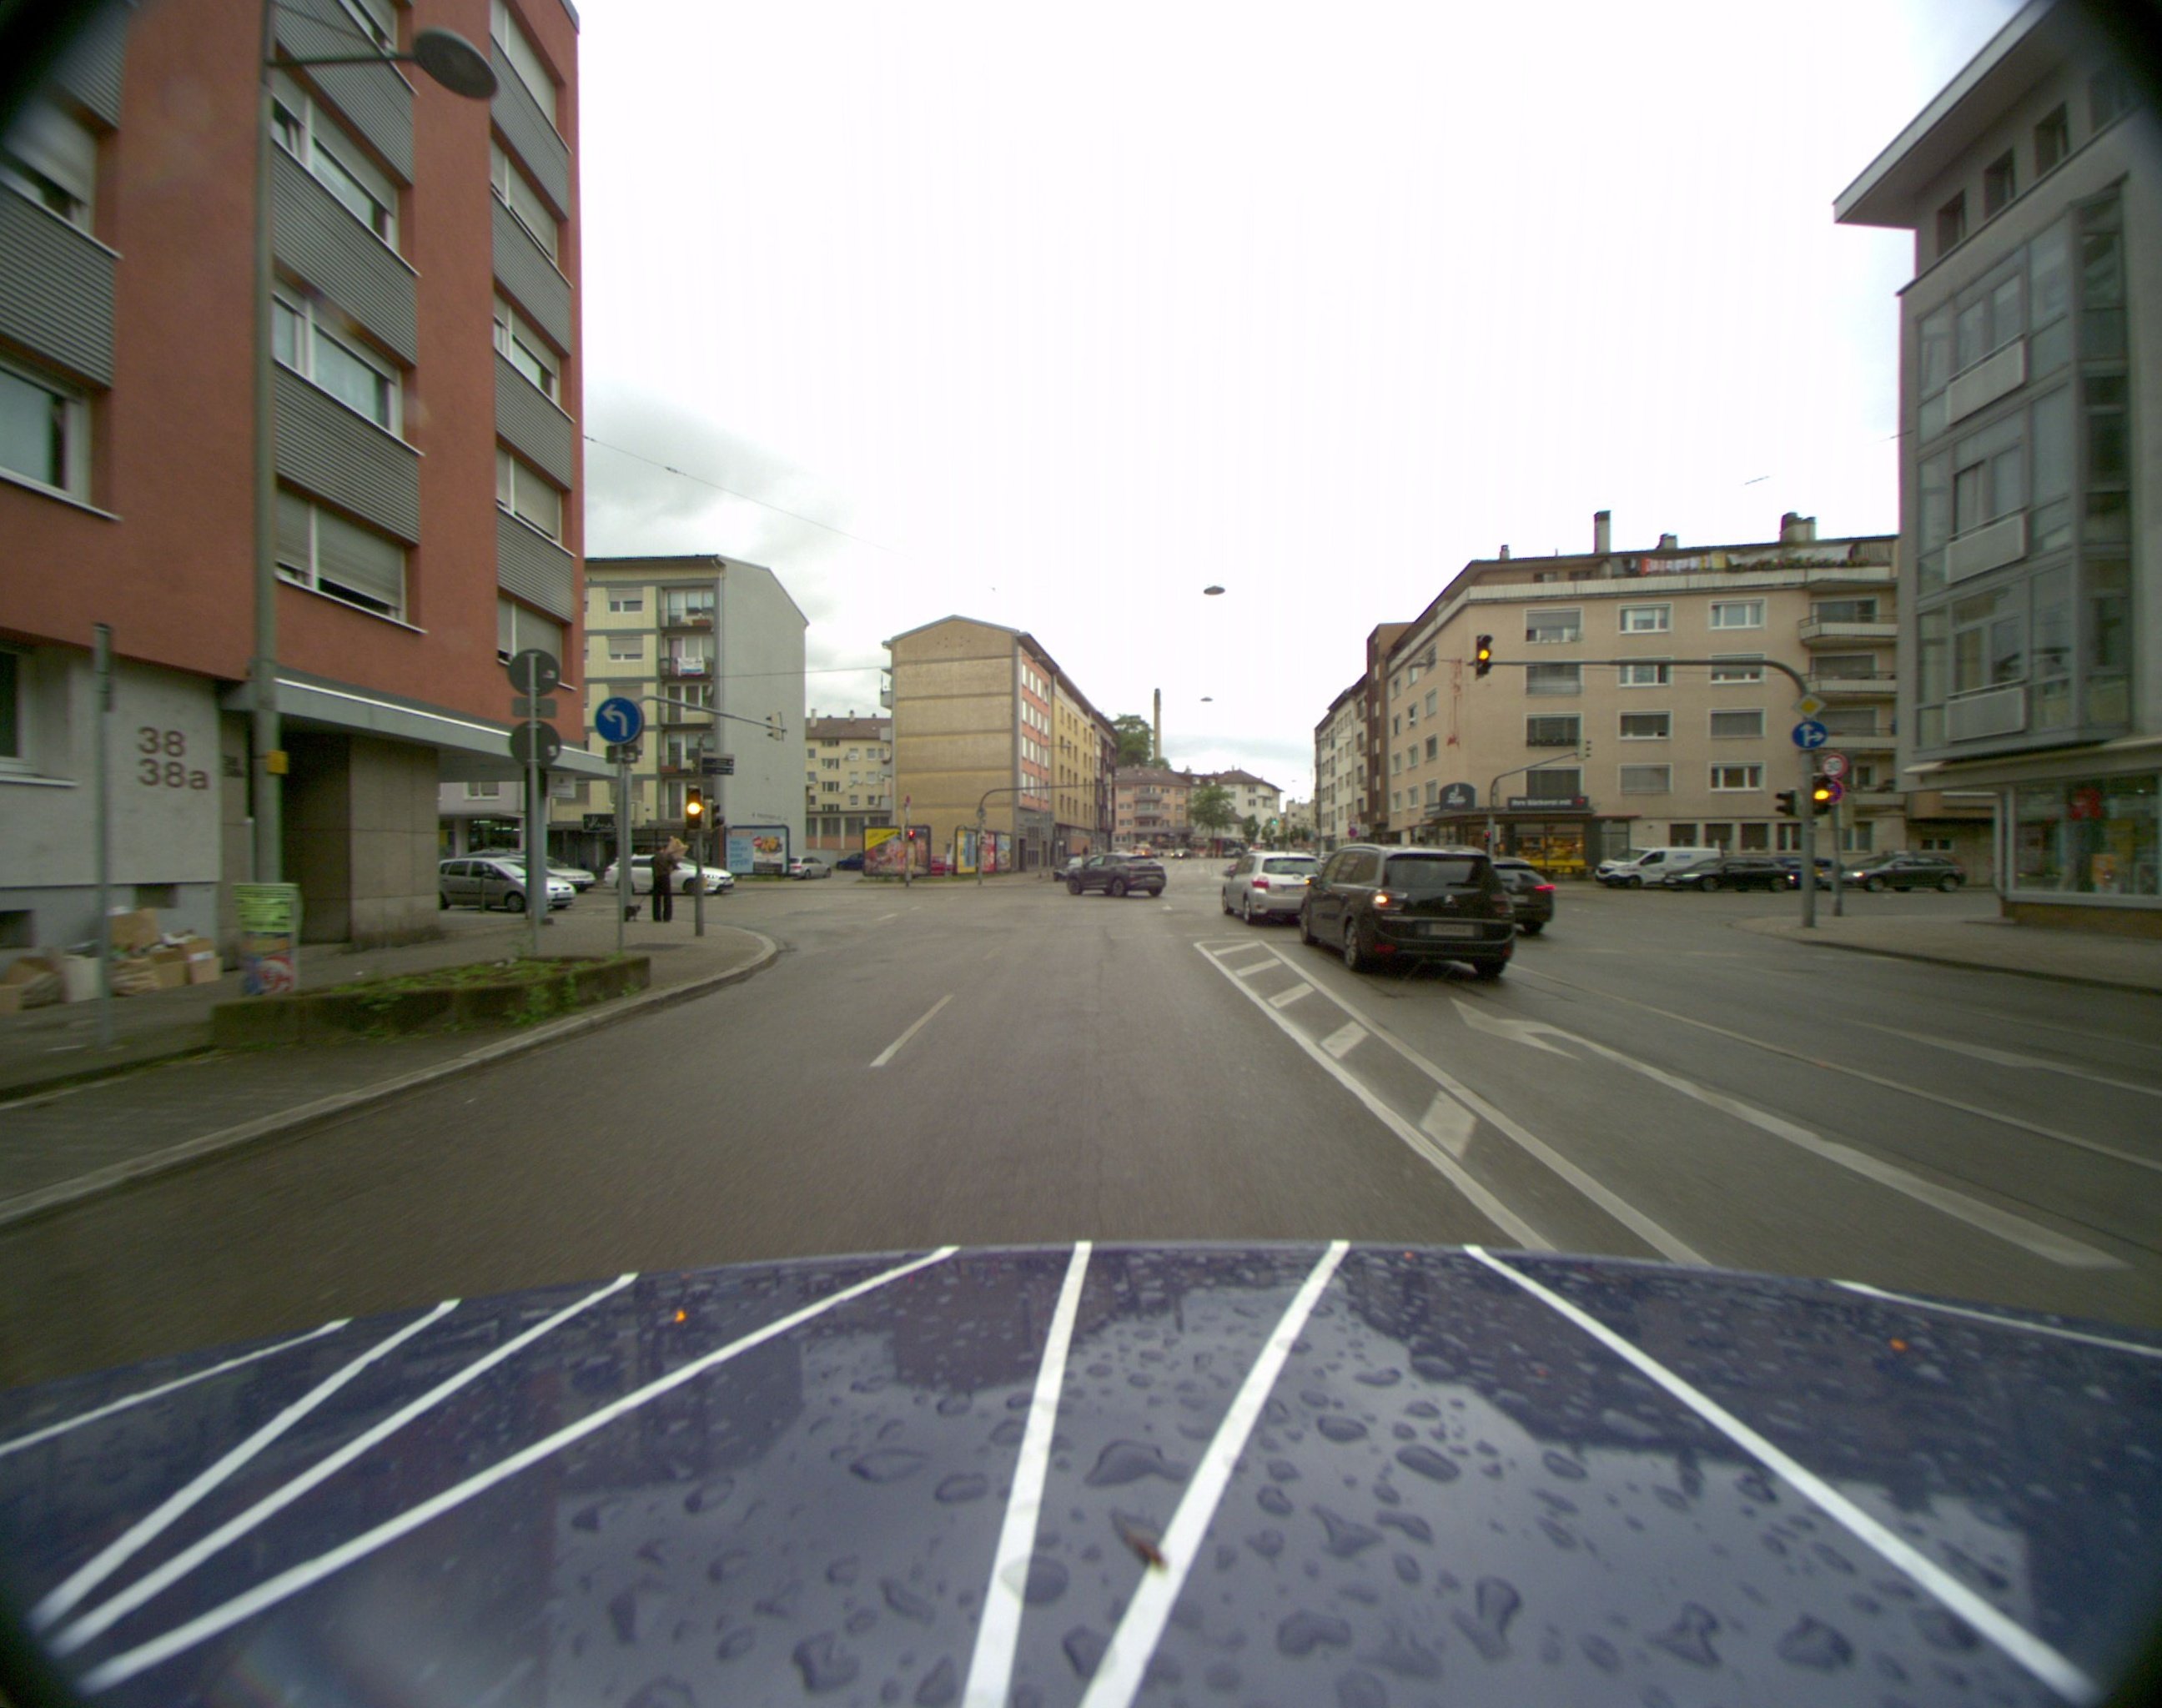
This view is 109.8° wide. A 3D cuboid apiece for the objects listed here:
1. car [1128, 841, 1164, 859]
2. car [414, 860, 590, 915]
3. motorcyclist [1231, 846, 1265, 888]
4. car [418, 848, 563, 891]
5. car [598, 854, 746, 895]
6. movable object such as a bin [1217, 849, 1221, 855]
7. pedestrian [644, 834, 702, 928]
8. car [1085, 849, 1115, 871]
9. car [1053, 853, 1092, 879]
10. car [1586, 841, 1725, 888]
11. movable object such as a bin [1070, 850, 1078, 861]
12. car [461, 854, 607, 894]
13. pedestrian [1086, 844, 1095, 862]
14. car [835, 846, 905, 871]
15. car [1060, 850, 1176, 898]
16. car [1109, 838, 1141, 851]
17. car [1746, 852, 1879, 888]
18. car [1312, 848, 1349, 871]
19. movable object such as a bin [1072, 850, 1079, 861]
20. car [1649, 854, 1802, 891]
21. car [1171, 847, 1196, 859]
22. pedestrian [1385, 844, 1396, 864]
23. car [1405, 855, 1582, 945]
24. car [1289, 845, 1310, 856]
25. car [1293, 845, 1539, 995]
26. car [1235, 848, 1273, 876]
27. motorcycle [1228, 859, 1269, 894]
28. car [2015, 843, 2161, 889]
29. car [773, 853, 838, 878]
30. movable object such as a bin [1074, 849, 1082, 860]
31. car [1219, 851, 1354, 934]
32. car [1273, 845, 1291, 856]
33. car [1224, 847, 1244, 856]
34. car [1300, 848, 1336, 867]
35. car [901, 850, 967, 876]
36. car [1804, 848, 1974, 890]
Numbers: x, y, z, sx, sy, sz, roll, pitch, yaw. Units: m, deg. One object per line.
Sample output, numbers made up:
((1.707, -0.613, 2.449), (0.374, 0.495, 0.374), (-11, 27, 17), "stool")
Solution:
((7.676, -0.521, 89.410), (2.194, 2.074, 5.943), (-1, 1, 26), "car")
((-16.614, 0.914, 21.904), (3.953, 1.477, 1.703), (0, 1, 7), "car")
((6.104, 0.470, 27.798), (0.918, 1.485, 0.863), (-2, 1, -14), "motorcyclist")
((-26.726, 0.721, 34.532), (4.896, 1.857, 2.029), (0, -3, -1), "car")
((-15.427, 0.758, 28.789), (4.660, 1.477, 1.920), (0, 1, 6), "car")
((22.526, -0.311, 123.813), (0.419, 0.924, 0.533), (2, 0, 29), "movable object such as a bin")
((-9.547, 0.621, 17.811), (0.827, 2.145, 0.770), (-2, 0, 7), "pedestrian")
((1.408, 0.399, 55.400), (1.679, 1.396, 4.001), (-1, 2, 9), "car")
((-0.468, 0.725, 47.826), (1.787, 1.488, 4.059), (-3, 0, 8), "car")
((27.066, 0.462, 35.955), (4.862, 2.091, 2.046), (0, 3, 4), "car")
((-0.665, 0.122, 75.287), (0.682, 1.070, 0.669), (0, 2, 9), "movable object such as a bin")
((-21.121, 0.747, 29.421), (4.518, 1.477, 1.846), (0, 1, 7), "car")
((1.010, -0.109, 79.741), (0.674, 1.777, 1.096), (-1, 1, 12), "pedestrian")
((-15.940, 0.328, 57.348), (4.767, 1.679, 2.159), (-2, 0, 27), "car")
((1.235, 0.651, 27.019), (1.865, 1.544, 4.214), (-1, 1, -37), "car")
((6.379, -1.391, 109.899), (2.004, 1.711, 4.783), (0, 2, -36), "car")
((34.665, 0.736, 36.104), (4.337, 1.547, 2.045), (0, 3, 0), "car")
((18.227, 0.345, 55.658), (1.911, 1.545, 4.633), (1, 1, 10), "car")
((-0.544, 0.125, 75.979), (0.682, 1.070, 0.669), (0, 2, 9), "movable object such as a bin")
((25.383, 0.711, 30.044), (4.337, 1.368, 2.047), (0, -1, 0), "car")
((13.911, -0.128, 103.369), (1.839, 1.433, 4.007), (-2, 0, 32), "car")
((24.626, -0.013, 60.499), (0.544, 1.574, 0.669), (-1, 1, -5), "pedestrian")
((8.268, 0.813, 15.741), (1.824, 1.425, 4.401), (2, 2, 9), "car")
((34.183, -0.561, 118.897), (1.863, 1.638, 4.262), (2, 2, 33), "car")
((4.307, 0.701, 10.616), (1.824, 1.599, 4.431), (0, 1, 5), "car")
((10.890, 0.478, 48.086), (1.824, 1.630, 4.374), (0, 1, 6), "car")
((6.116, 0.787, 27.811), (0.589, 1.184, 2.099), (-2, 1, -14), "motorcycle")
((33.742, 0.401, 24.564), (4.496, 1.379, 2.000), (1, 0, 2), "car")
((-16.579, 0.669, 45.941), (1.878, 1.431, 4.333), (0, 0, 8), "car")
((-0.333, 0.070, 77.329), (0.682, 1.070, 0.669), (0, 2, 9), "movable object such as a bin")
((4.353, 0.736, 16.785), (1.939, 1.518, 4.134), (0, 1, 2), "car")
((37.568, -0.624, 142.070), (1.995, 2.002, 4.008), (-2, 0, 34), "car")
((24.217, -0.437, 120.333), (1.810, 1.334, 4.007), (-2, 0, 30), "car")
((19.795, 0.282, 63.696), (1.997, 1.468, 4.520), (0, 1, 6), "car")
((-9.092, 0.538, 47.198), (3.661, 1.542, 2.088), (0, 0, 1), "car")
((32.189, 0.611, 30.373), (4.652, 1.580, 2.046), (0, -1, -1), "car")
